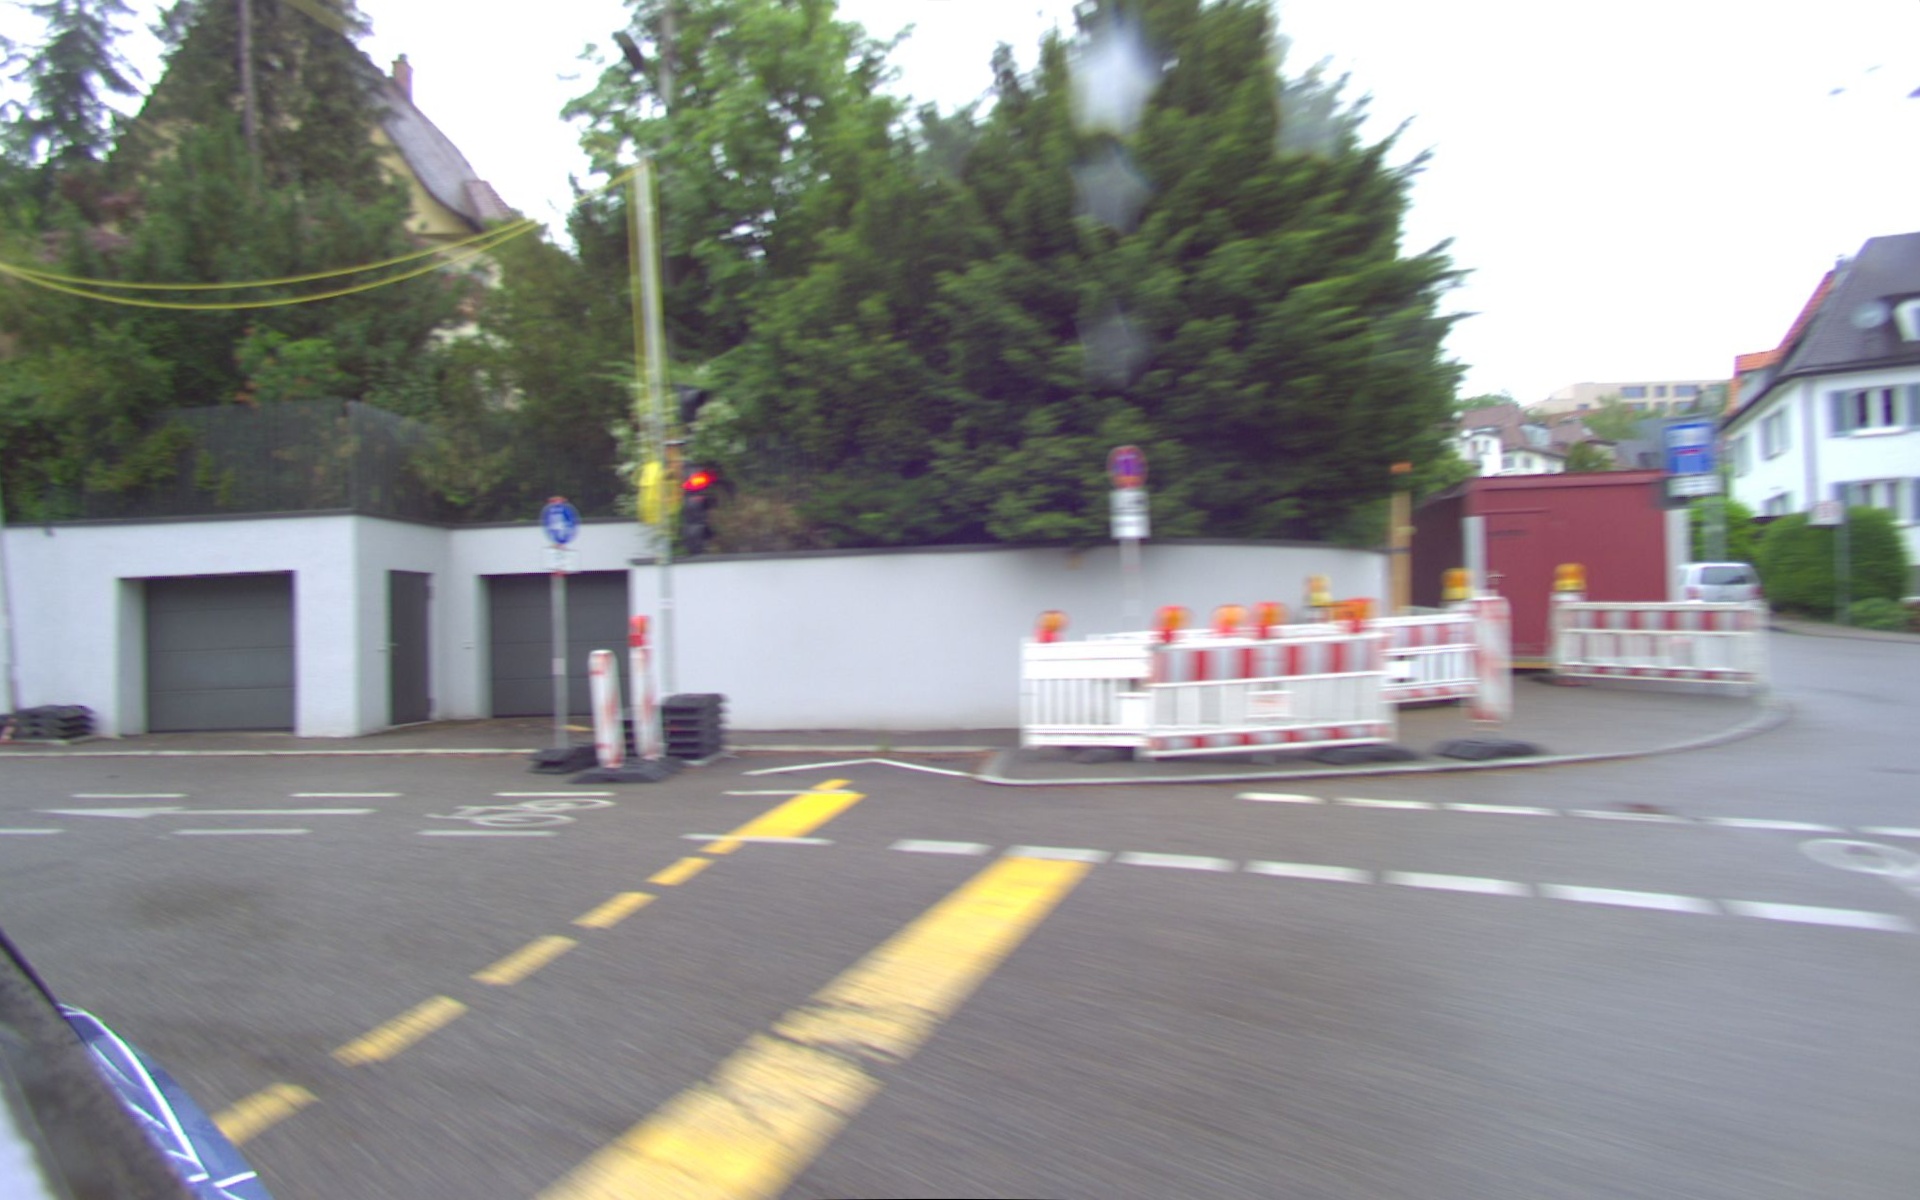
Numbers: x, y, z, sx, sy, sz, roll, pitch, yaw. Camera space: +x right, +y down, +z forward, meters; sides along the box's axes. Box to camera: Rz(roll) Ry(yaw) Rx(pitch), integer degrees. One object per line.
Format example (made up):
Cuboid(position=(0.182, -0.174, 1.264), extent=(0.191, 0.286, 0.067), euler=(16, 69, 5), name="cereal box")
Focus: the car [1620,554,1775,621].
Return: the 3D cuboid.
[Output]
Cuboid(position=(19.713, -0.382, 27.293), extent=(1.855, 1.674, 3.986), euler=(-1, 2, 12), name="car")
